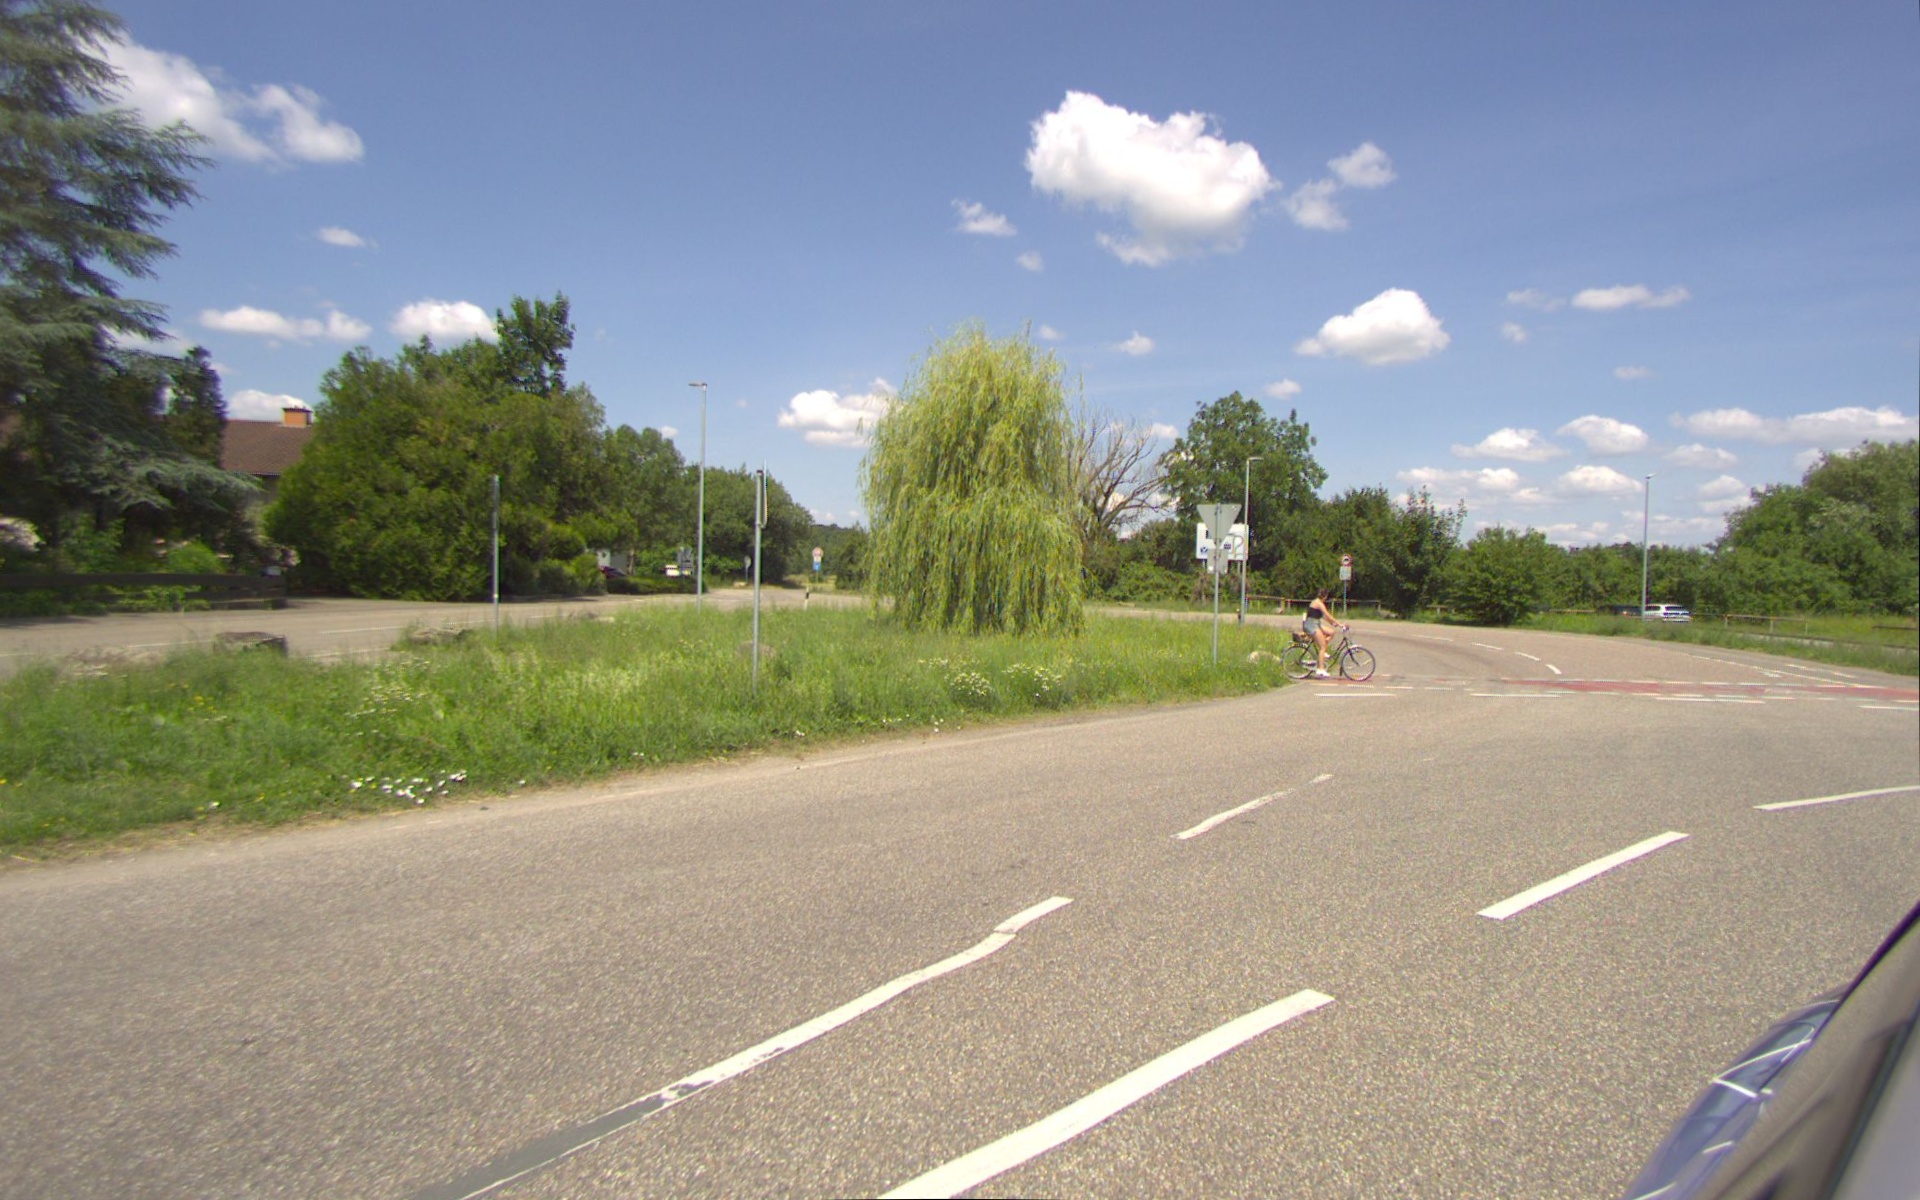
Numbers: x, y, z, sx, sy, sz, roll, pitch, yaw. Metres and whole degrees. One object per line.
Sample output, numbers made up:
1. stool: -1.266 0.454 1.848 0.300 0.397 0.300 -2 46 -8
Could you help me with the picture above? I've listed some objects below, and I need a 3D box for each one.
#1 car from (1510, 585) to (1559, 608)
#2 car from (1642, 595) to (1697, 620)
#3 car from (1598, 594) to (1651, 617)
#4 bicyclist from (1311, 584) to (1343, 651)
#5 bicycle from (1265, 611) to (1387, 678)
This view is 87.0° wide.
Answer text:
1. car: 36.116 -0.227 63.688 1.392 1.355 3.117 1 0 1
2. car: 44.289 0.449 63.207 1.393 1.523 3.114 1 0 4
3. car: 41.324 0.324 63.001 1.393 1.355 3.114 1 0 5
4. bicyclist: 7.037 0.324 19.435 0.504 1.271 0.467 1 0 13
5. bicycle: 6.997 0.836 19.466 2.114 1.179 0.659 1 1 13
